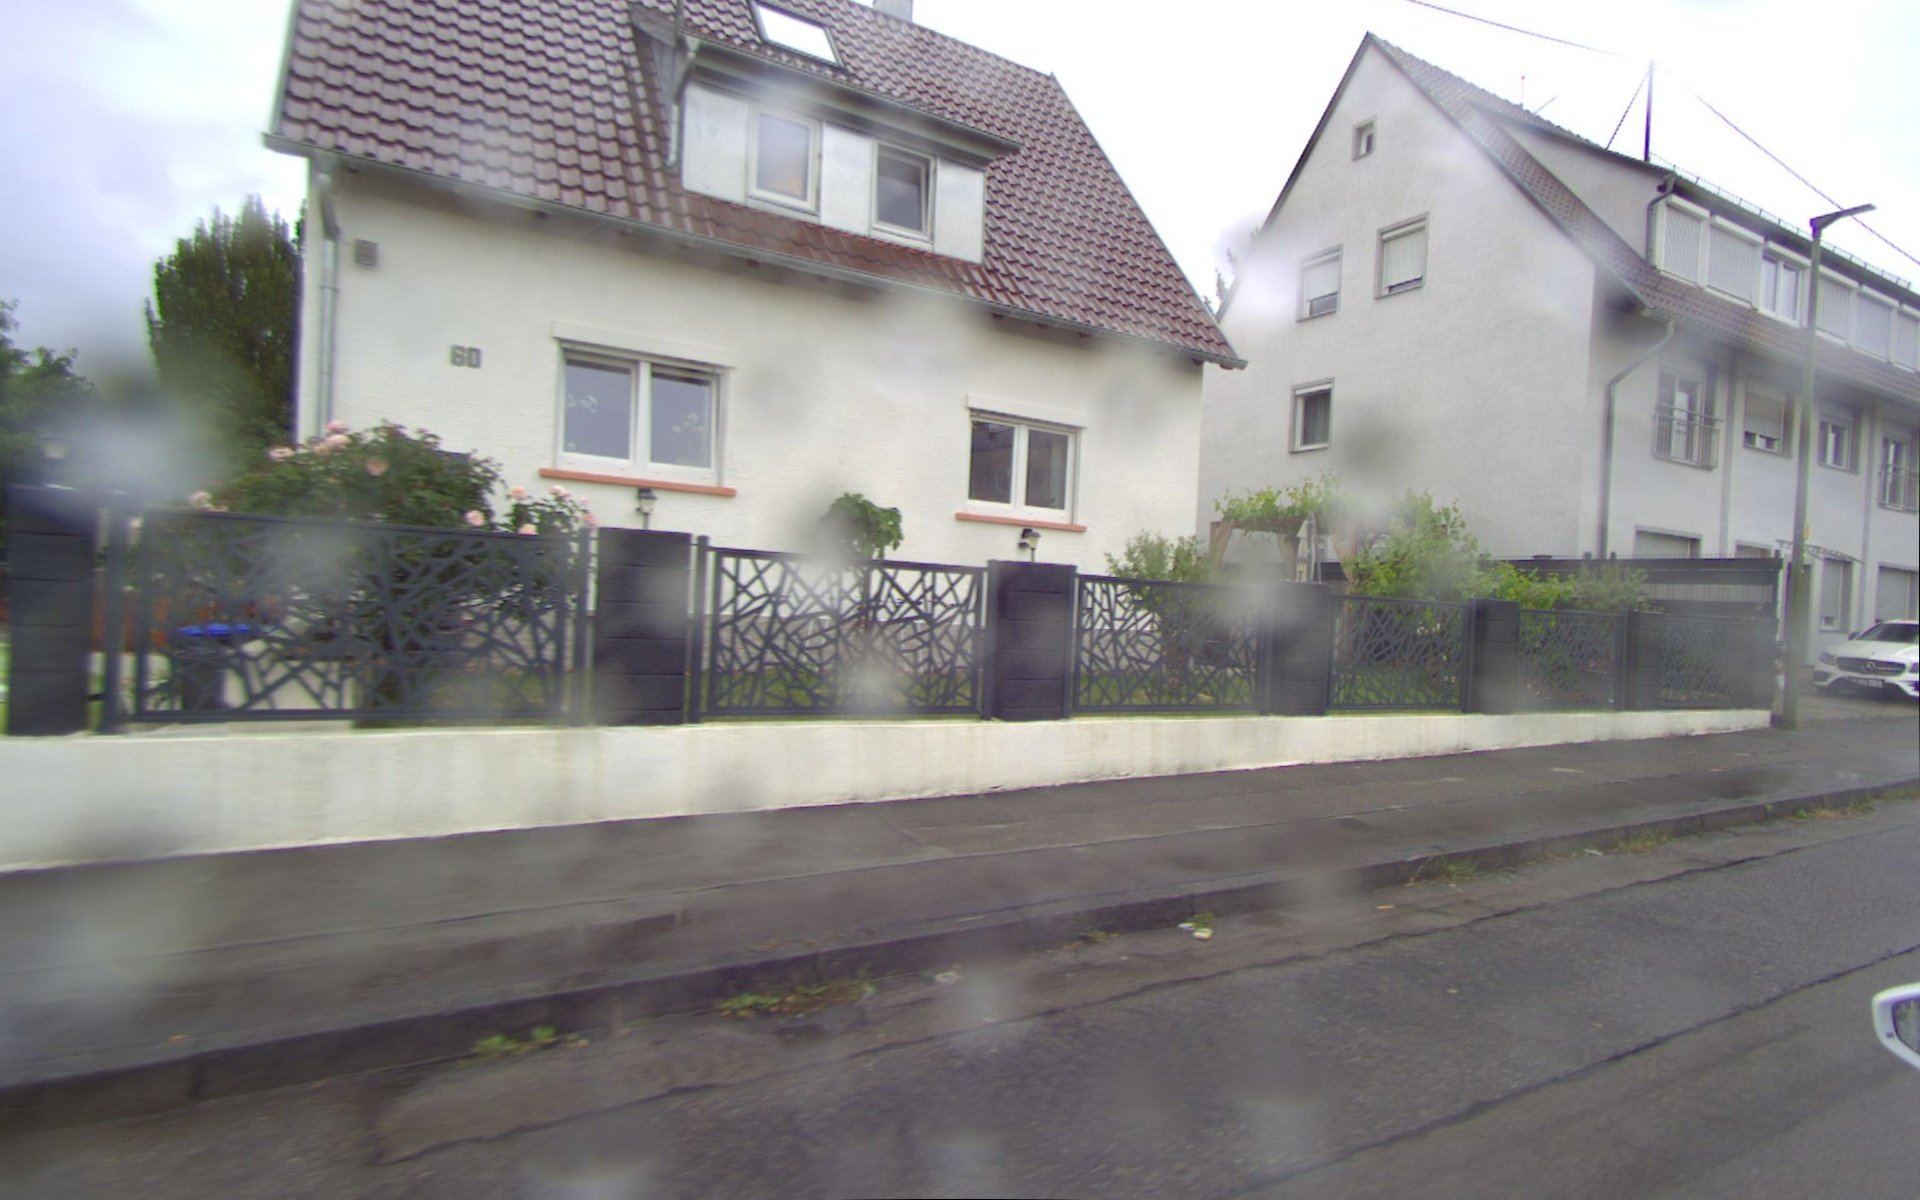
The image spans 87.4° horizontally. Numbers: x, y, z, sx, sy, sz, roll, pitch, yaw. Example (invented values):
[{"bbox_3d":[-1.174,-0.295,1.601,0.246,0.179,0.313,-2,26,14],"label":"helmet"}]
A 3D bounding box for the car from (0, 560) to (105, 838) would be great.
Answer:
[{"bbox_3d":[-7.103,0.454,5.429,3.415,1.486,1.771,3,1,-29],"label":"car"}]

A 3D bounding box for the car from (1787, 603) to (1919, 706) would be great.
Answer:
[{"bbox_3d":[17.496,0.973,18.339,4.836,1.530,1.984,2,4,-29],"label":"car"}]

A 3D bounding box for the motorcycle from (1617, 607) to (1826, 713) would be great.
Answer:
[{"bbox_3d":[11.402,0.850,15.168,0.727,1.290,2.352,2,4,-28],"label":"motorcycle"}]

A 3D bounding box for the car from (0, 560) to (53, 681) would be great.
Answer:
[{"bbox_3d":[-18.701,0.299,17.535,3.886,2.041,1.997,2,3,-31],"label":"car"}]
